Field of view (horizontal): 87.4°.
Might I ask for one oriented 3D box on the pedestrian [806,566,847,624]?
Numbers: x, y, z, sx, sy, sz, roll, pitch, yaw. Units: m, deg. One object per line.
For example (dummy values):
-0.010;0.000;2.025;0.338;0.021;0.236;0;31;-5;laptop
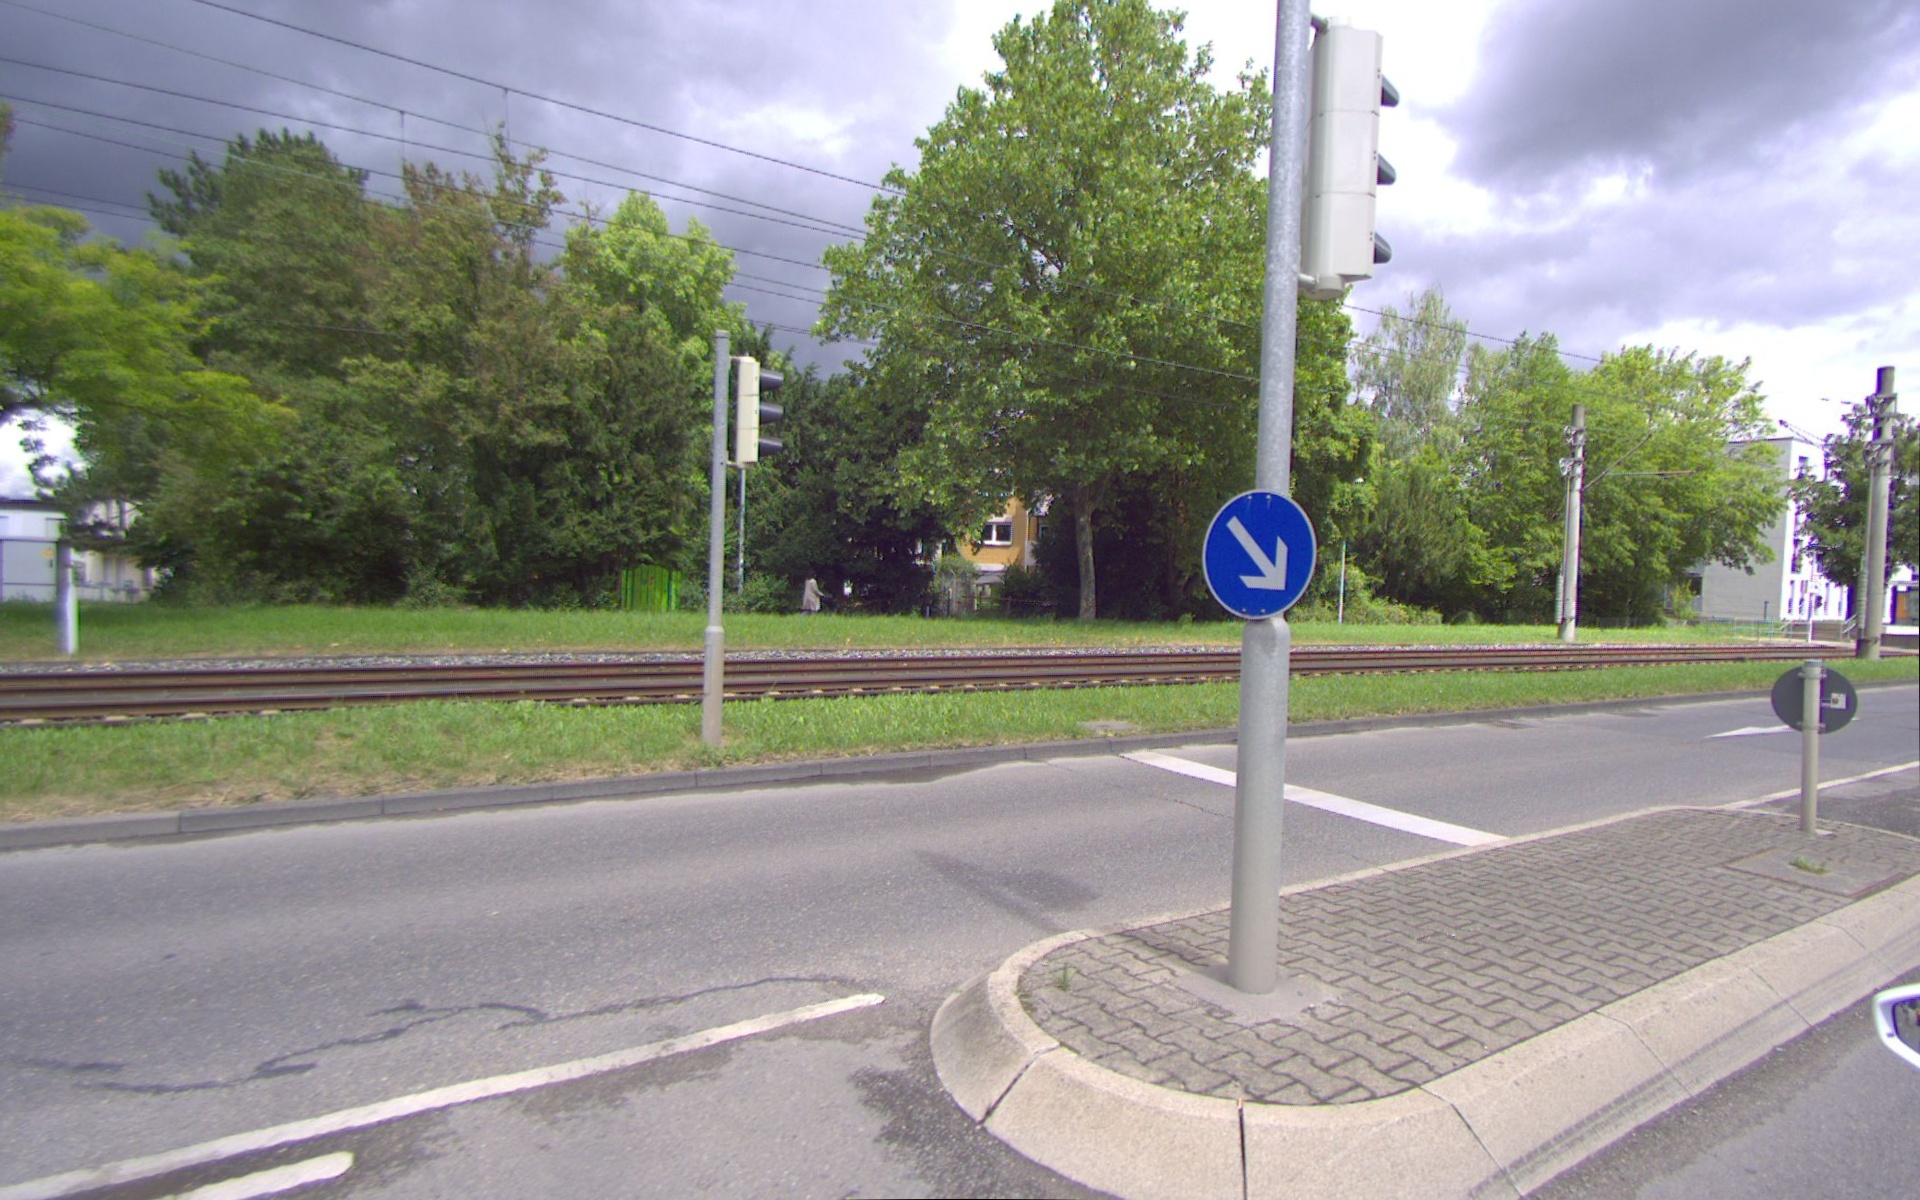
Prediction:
-4.631;-0.195;34.973;1.338;1.960;1.036;2;2;-7;pedestrian
